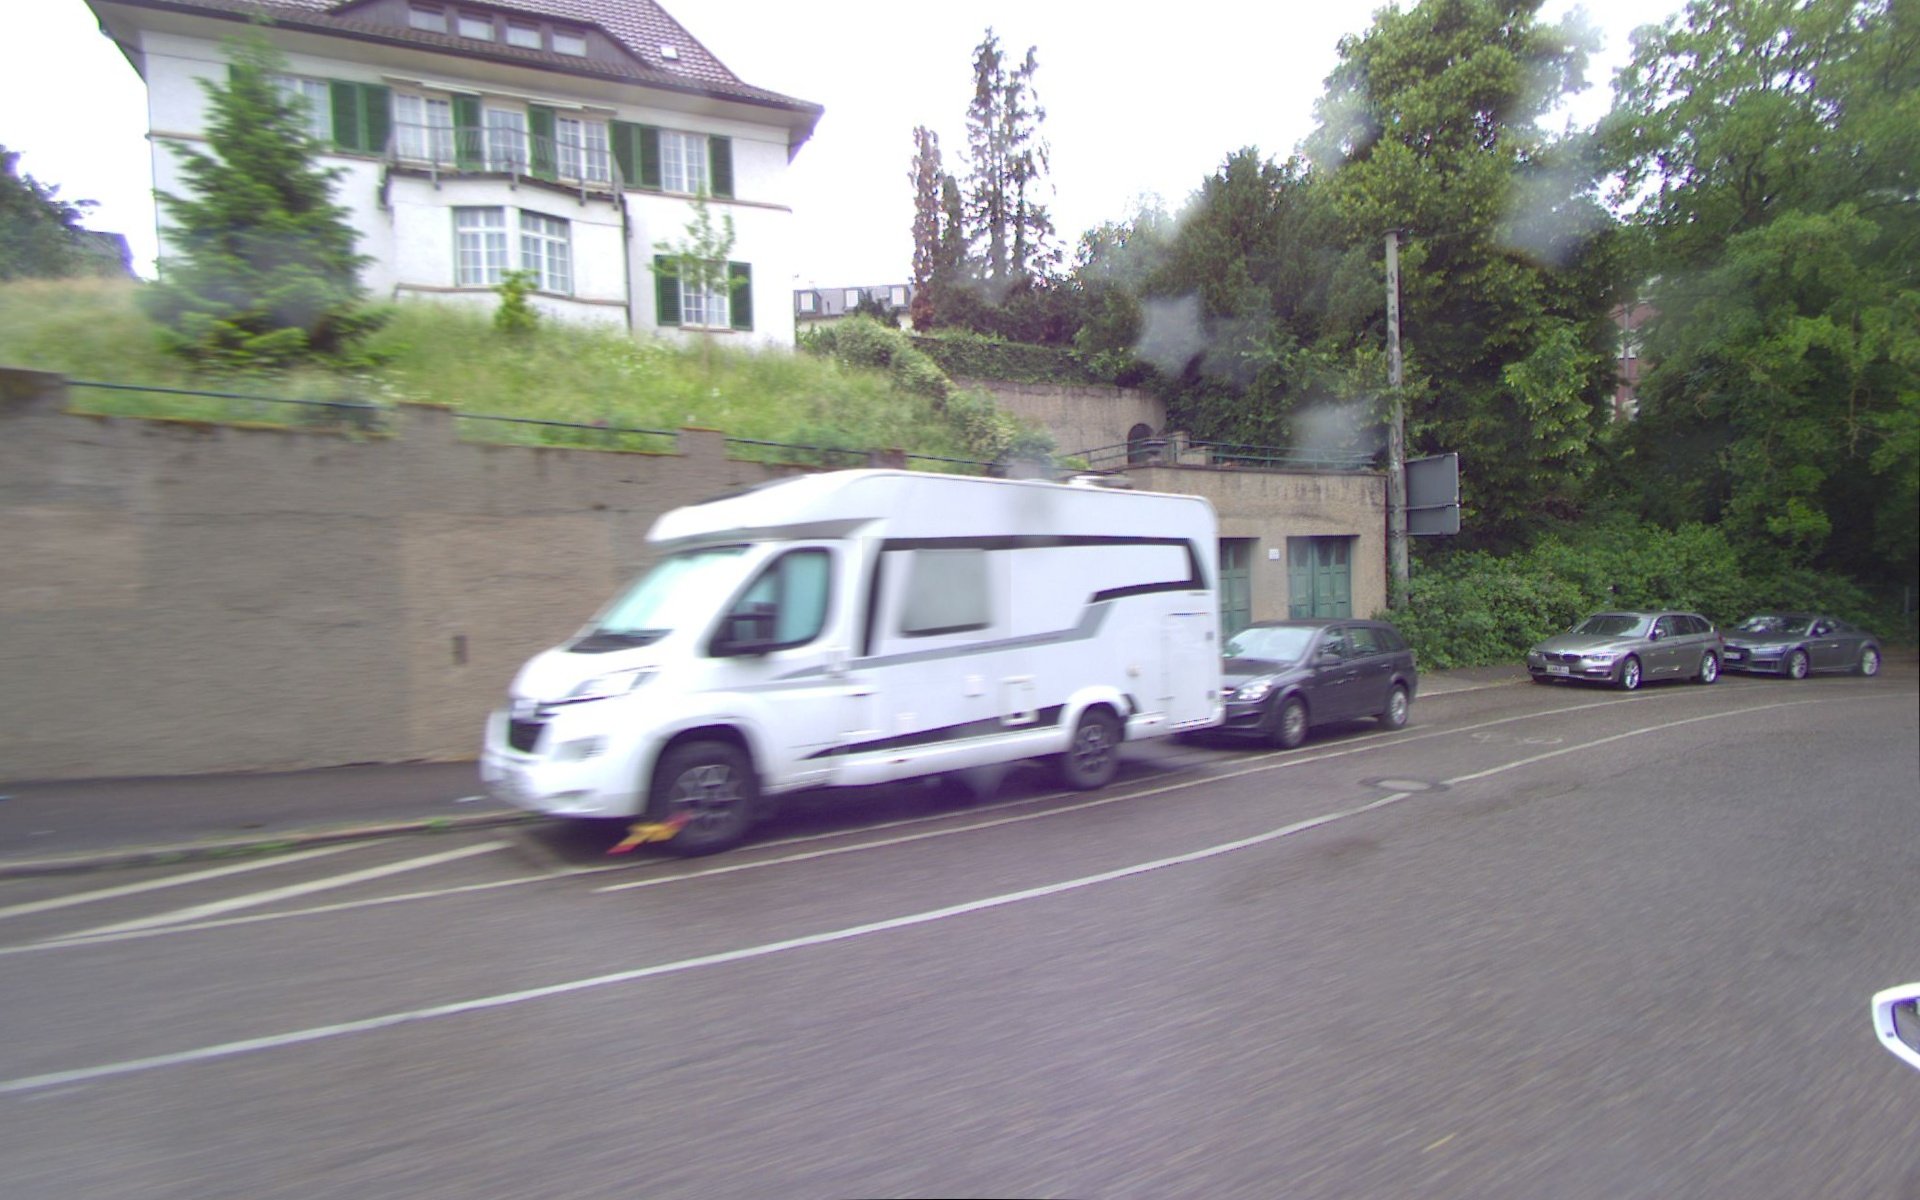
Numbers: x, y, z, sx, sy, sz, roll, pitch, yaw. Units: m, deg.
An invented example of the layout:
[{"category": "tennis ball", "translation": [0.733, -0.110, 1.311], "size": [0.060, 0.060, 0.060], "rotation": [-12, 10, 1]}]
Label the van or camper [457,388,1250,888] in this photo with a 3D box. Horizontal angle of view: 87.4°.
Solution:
[{"category": "van or camper", "translation": [-0.337, 0.242, 8.819], "size": [6.996, 2.826, 2.136], "rotation": [0, -1, -42]}]

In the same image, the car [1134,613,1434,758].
[{"category": "car", "translation": [4.332, 0.960, 13.067], "size": [4.337, 1.518, 1.771], "rotation": [-1, 0, -42]}]

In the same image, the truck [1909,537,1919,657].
[{"category": "truck", "translation": [26.746, -0.071, 23.911], "size": [6.487, 3.145, 2.038], "rotation": [1, 4, -5]}]

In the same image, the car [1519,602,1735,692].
[{"category": "car", "translation": [13.248, 0.849, 19.893], "size": [4.473, 1.519, 1.692], "rotation": [-1, 2, -29]}]

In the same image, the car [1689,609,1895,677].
[{"category": "car", "translation": [18.412, 0.910, 22.241], "size": [4.183, 1.293, 1.696], "rotation": [0, 2, -22]}]
